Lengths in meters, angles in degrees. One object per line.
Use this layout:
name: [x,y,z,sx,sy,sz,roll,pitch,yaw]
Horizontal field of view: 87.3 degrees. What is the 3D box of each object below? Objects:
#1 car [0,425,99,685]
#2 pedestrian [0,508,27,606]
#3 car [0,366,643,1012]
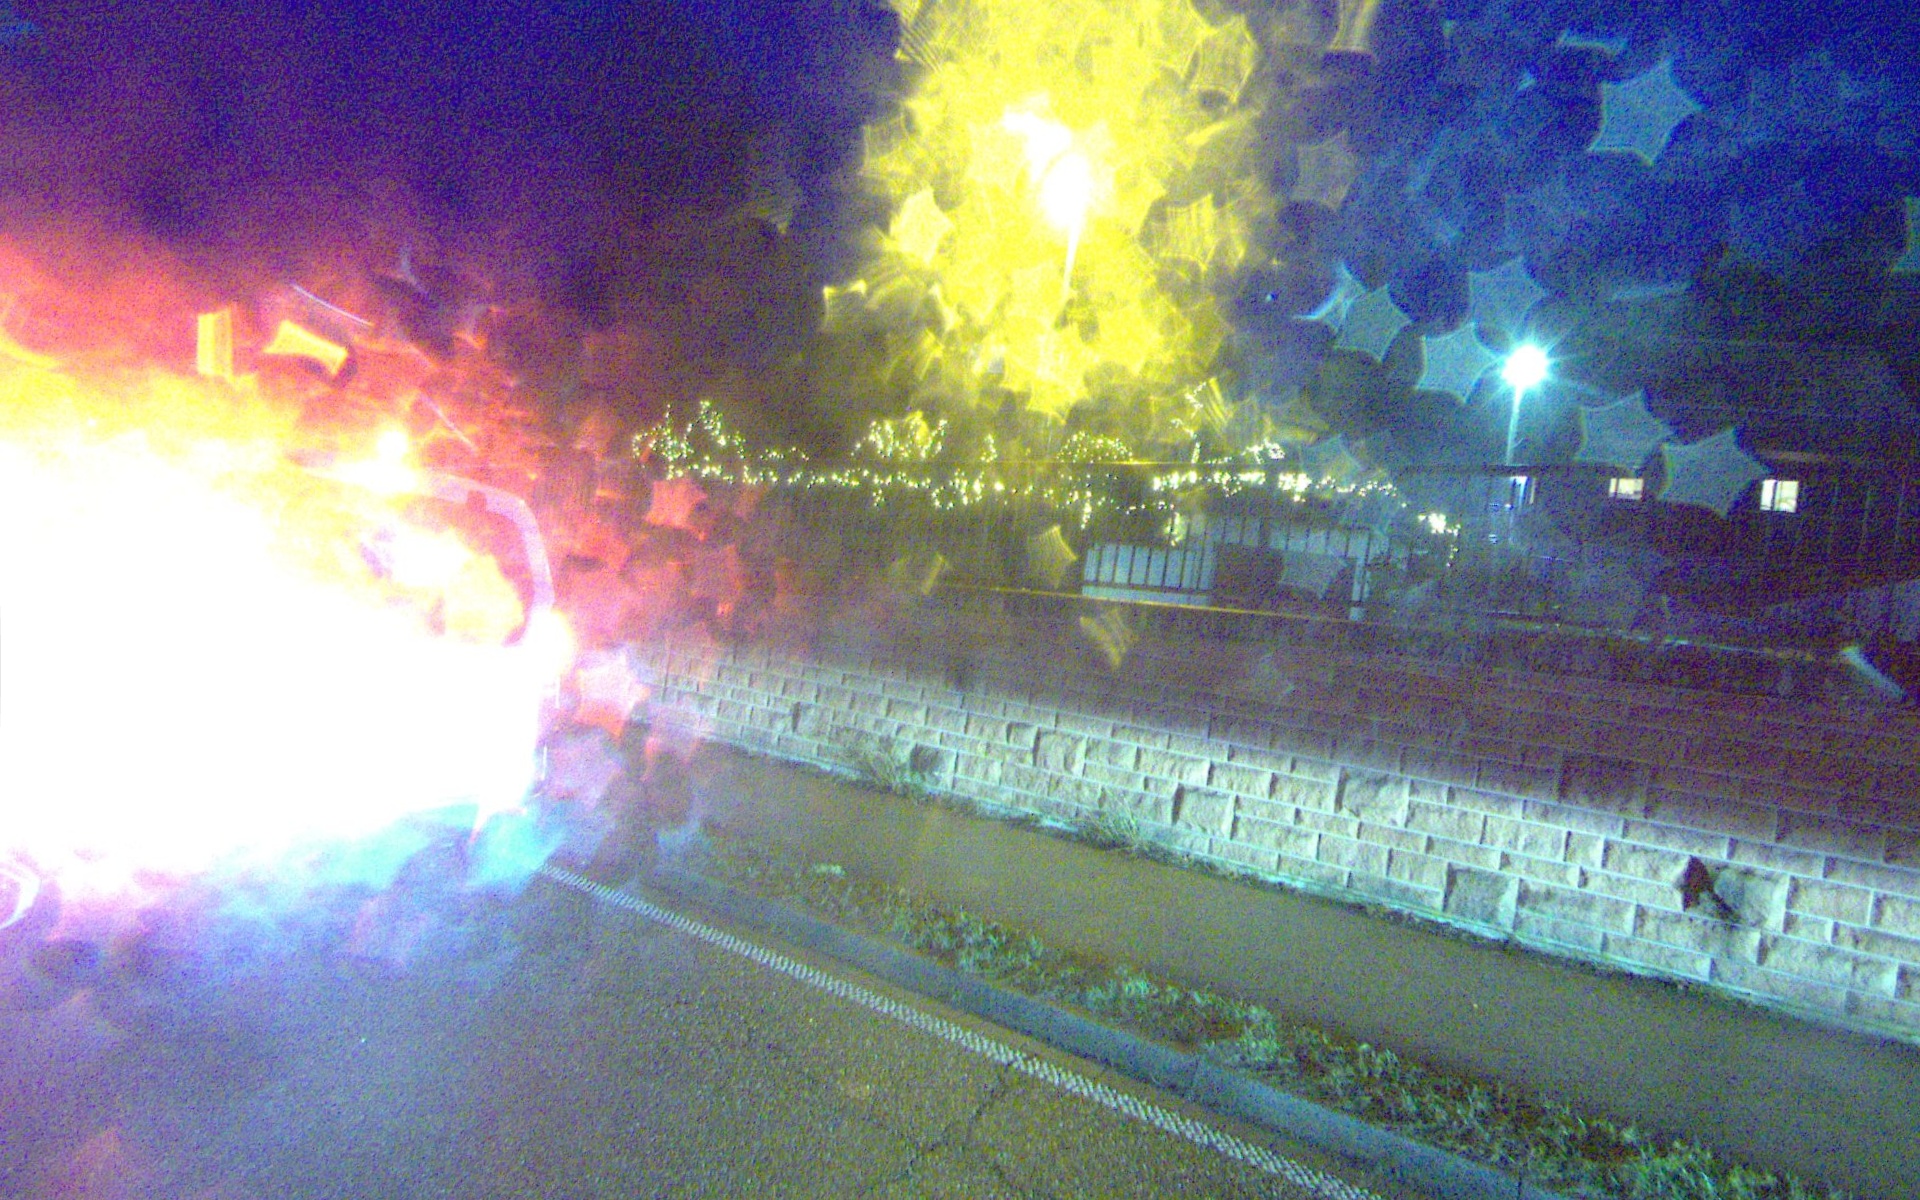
car: [-9.612,-0.584,8.730,3.934,2.070,1.973,6,-2,32]
pedestrian: [-17.564,-0.809,18.270,0.532,1.721,0.624,7,-1,29]
car: [-3.814,0.156,4.836,4.269,1.886,1.855,6,-2,32]
